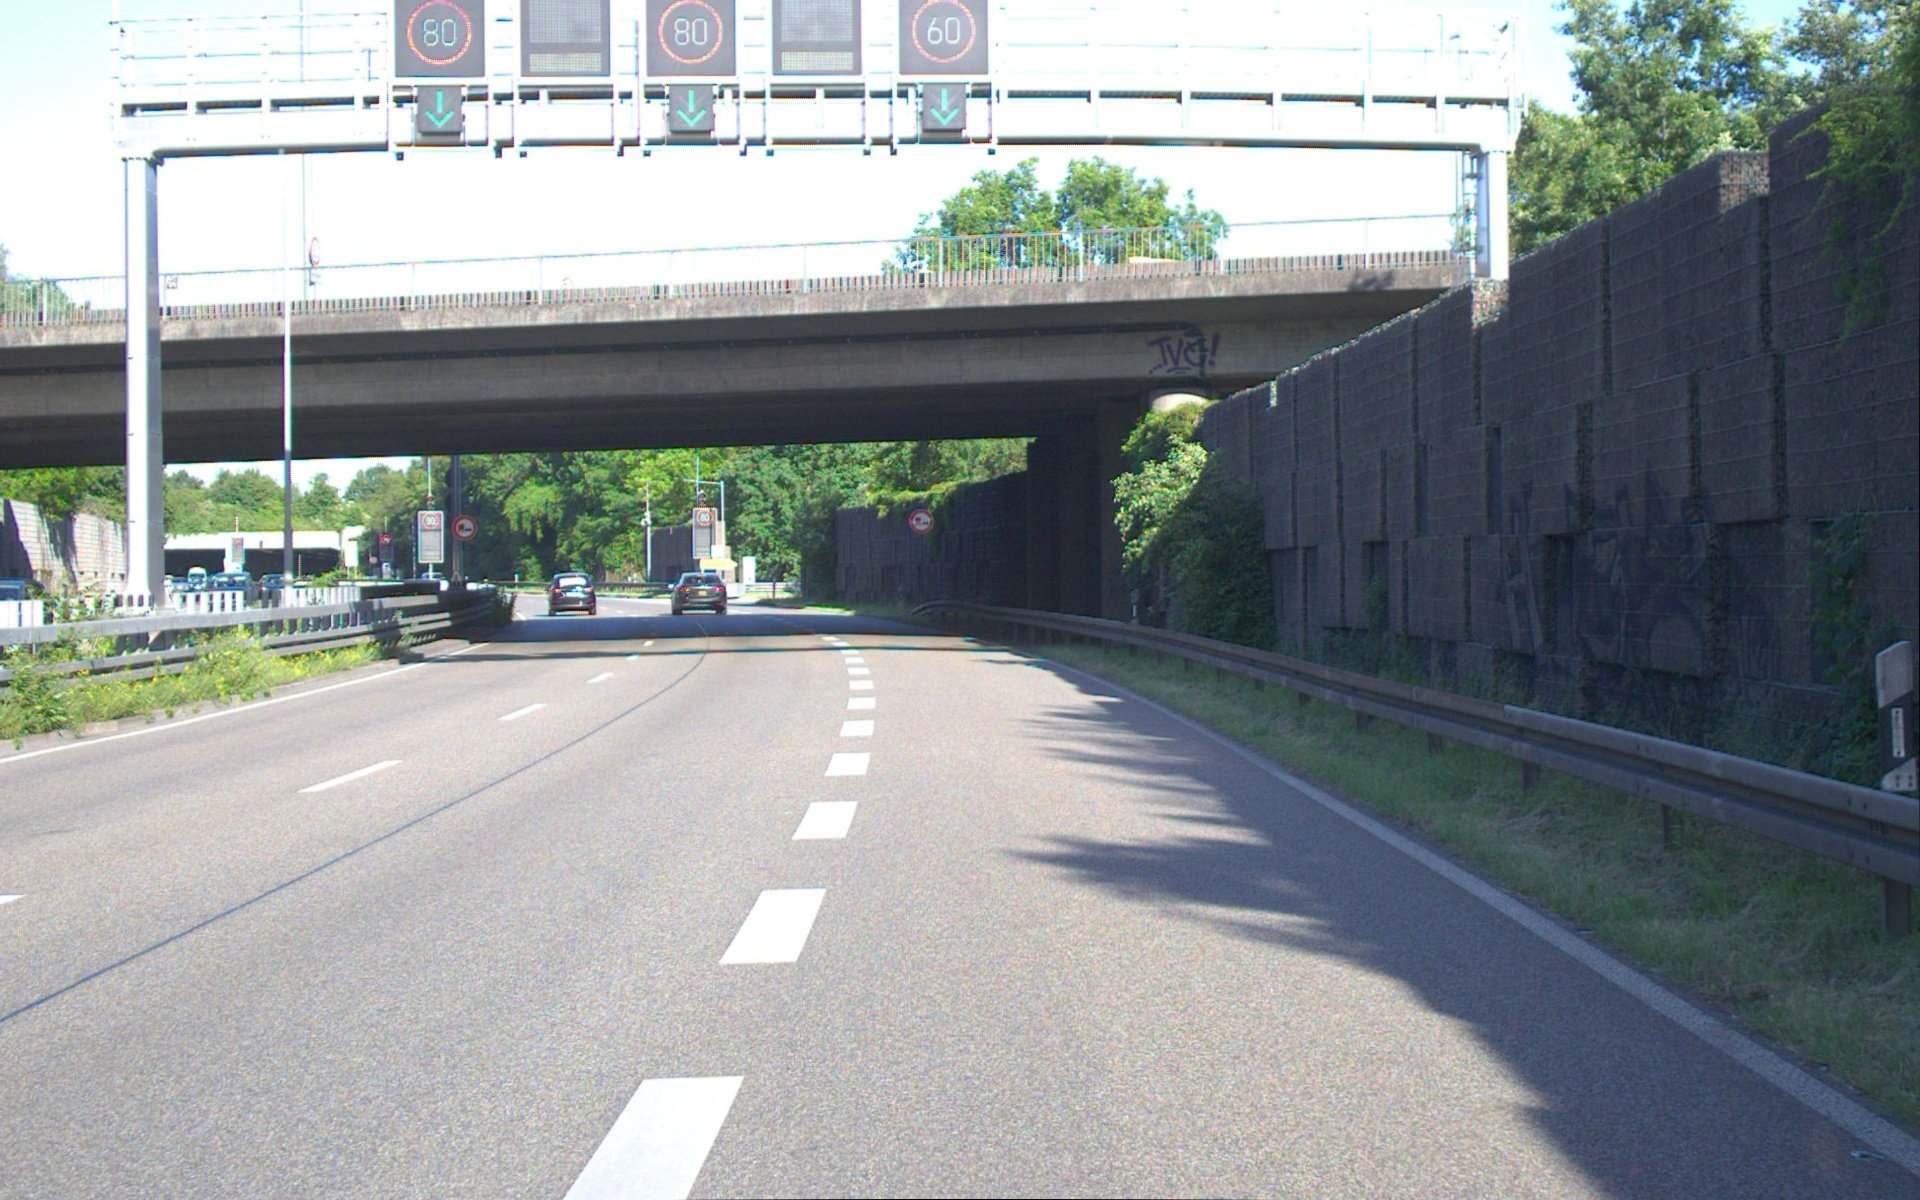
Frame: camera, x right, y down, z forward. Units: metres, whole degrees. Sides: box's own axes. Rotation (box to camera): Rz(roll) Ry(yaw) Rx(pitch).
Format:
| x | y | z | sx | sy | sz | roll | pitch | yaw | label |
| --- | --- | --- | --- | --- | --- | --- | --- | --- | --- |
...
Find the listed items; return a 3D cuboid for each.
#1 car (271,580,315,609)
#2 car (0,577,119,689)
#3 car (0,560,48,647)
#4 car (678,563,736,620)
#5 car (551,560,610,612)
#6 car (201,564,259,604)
| x | y | z | sx | sy | sz | roll | pitch | yaw | label |
| --- | --- | --- | --- | --- | --- | --- | --- | --- | --- |
| -38.005 | -0.338 | 195.921 | 1.993 | 1.590 | 4.428 | -1 | 1 | -5 | car |
| -14.669 | 0.480 | 53.491 | 1.993 | 1.635 | 4.721 | 0 | 1 | 0 | car |
| -19.012 | 0.051 | 65.492 | 1.993 | 1.635 | 4.721 | 0 | 1 | 0 | car |
| -8.818 | -0.310 | 120.032 | 1.993 | 1.919 | 4.001 | 0 | 1 | -4 | car |
| -14.090 | -0.538 | 127.959 | 1.993 | 1.919 | 4.001 | 0 | 1 | -4 | car |
| -32.715 | -0.742 | 154.163 | 1.993 | 1.700 | 4.562 | -2 | 1 | -5 | car |
